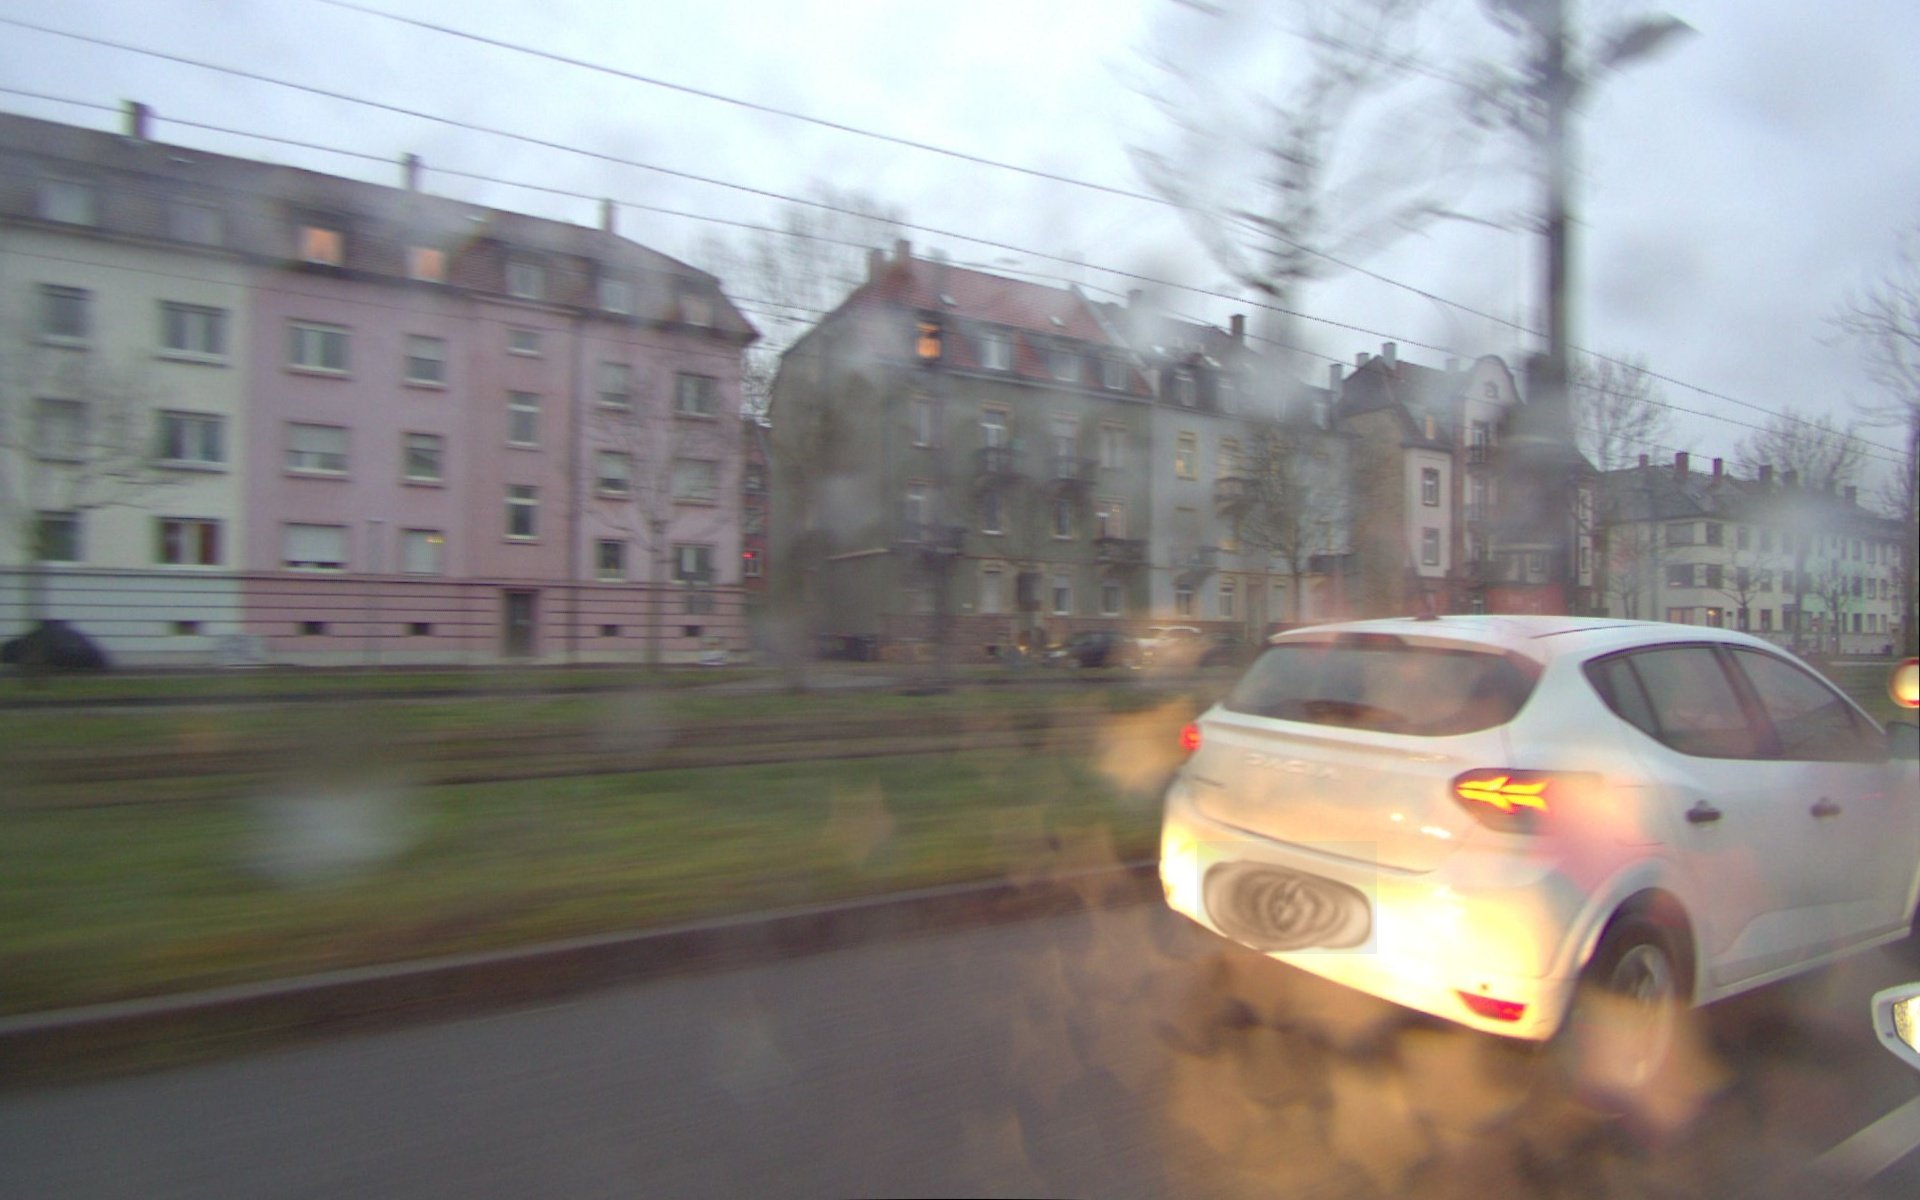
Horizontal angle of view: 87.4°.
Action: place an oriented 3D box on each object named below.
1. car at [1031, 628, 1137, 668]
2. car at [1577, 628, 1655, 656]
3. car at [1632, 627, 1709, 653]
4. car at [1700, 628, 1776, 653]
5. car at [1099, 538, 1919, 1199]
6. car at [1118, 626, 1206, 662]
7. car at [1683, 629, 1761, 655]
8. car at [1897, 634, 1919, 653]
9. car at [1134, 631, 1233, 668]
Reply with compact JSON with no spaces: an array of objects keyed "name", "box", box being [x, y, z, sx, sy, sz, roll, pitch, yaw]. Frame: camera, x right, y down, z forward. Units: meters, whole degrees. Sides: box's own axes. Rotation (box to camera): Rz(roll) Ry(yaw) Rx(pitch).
[{"name":"car","box":[4.506,1.721,36.534,3.515,1.372,1.767,1,-2,-31]},{"name":"car","box":[32.999,2.085,50.632,1.746,1.372,3.559,0,-2,4]},{"name":"car","box":[37.922,2.115,53.723,1.746,1.372,3.559,0,-2,4]},{"name":"car","box":[44.547,2.286,57.612,1.746,1.372,3.559,0,-2,4]},{"name":"car","box":[2.696,0.709,4.195,4.005,1.621,1.664,2,-1,-30]},{"name":"car","box":[8.916,1.903,44.297,3.515,1.520,1.767,1,-2,-31]},{"name":"car","box":[41.515,2.247,54.823,1.746,1.372,3.559,0,-2,4]},{"name":"car","box":[70.789,3.166,73.273,1.746,1.372,3.559,0,-2,4]},{"name":"car","box":[8.698,1.893,39.003,3.515,1.372,1.767,1,-2,-31]}]
